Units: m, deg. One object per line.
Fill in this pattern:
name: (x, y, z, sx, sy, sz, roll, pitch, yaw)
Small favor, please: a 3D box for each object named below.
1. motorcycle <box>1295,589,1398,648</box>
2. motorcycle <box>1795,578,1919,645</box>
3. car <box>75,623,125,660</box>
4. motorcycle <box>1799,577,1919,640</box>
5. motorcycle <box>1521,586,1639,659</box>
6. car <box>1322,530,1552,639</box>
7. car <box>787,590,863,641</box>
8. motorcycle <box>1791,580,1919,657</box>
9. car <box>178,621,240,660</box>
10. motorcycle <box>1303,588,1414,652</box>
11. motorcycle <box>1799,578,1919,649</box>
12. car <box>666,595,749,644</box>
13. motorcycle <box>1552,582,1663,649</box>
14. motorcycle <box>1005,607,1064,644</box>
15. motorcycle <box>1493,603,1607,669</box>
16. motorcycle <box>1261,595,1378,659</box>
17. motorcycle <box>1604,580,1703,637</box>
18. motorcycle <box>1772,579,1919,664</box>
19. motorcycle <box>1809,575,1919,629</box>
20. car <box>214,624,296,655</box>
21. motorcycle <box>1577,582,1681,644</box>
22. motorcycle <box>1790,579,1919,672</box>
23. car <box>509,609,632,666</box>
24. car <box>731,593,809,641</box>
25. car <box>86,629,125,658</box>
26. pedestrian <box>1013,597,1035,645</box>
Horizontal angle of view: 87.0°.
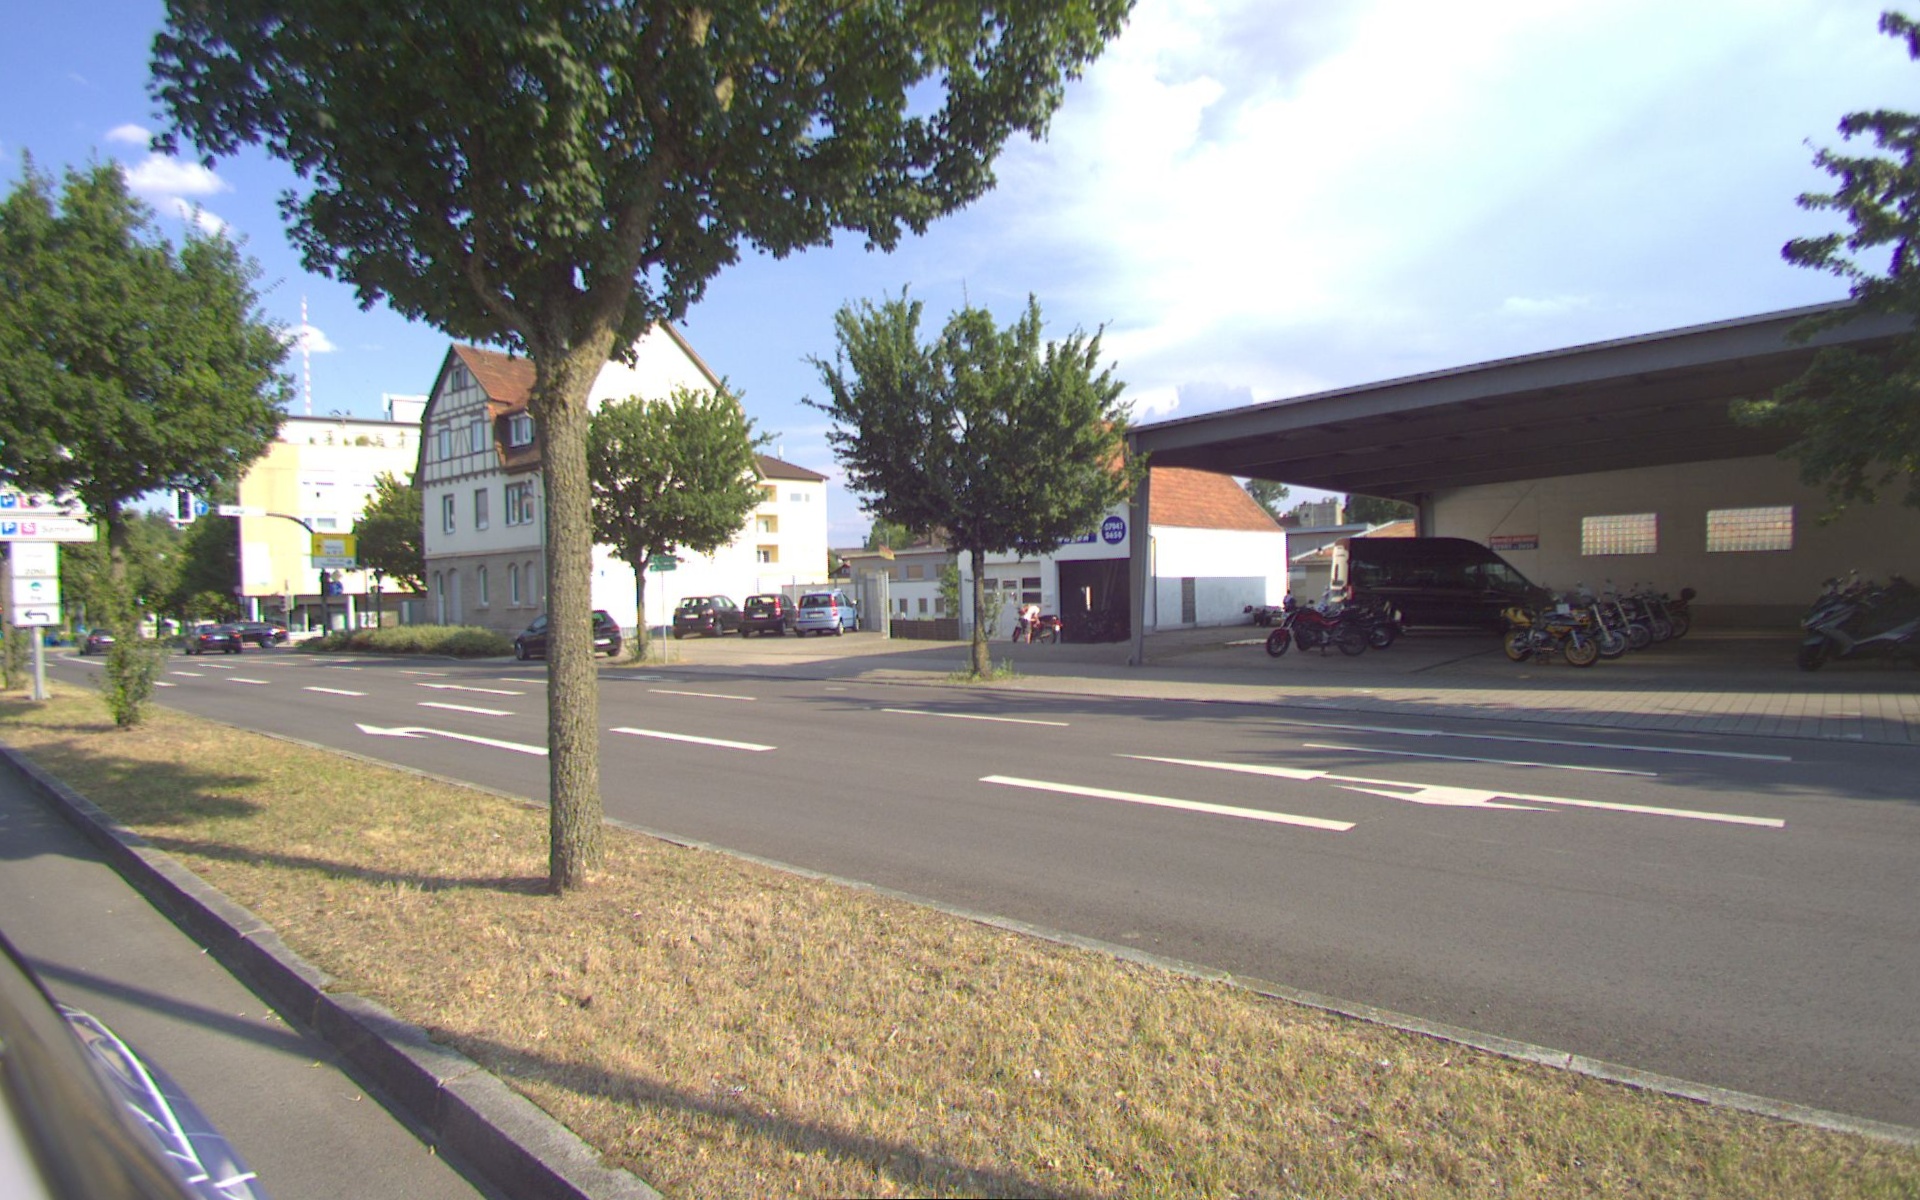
motorcycle: (9.376, 0.446, 24.607, 2.198, 1.372, 0.630, -1, 0, 5)
motorcycle: (19.032, 0.250, 21.289, 2.103, 1.306, 0.628, -3, -1, 17)
car: (-43.488, 2.055, 51.128, 1.756, 1.706, 4.004, -1, 0, -43)
motorcycle: (20.226, 0.201, 22.644, 2.103, 1.306, 0.628, -3, -1, 17)
motorcycle: (12.156, 0.432, 19.955, 0.621, 1.347, 2.269, -1, 0, -9)
car: (12.863, -0.384, 27.628, 5.221, 2.773, 1.996, -1, 0, 7)
car: (-4.686, 0.513, 35.675, 1.797, 1.512, 3.819, -3, 2, 5)
motorcycle: (16.529, 0.334, 18.348, 2.103, 1.306, 0.628, -3, -1, 17)
car: (-35.568, 1.887, 47.884, 4.002, 1.706, 1.757, -1, 0, 44)
motorcycle: (8.954, 0.444, 22.803, 2.198, 1.372, 0.630, -1, 0, 5)
motorcycle: (18.043, 0.263, 19.988, 2.103, 1.306, 0.628, -3, -1, 17)
car: (-9.326, 0.683, 37.697, 1.797, 1.512, 3.819, -3, 2, 5)
motorcycle: (13.862, 0.318, 21.769, 0.621, 1.347, 2.269, -1, 0, -9)
motorcycle: (2.431, 0.832, 33.209, 1.974, 1.194, 0.577, -1, 0, 41)
motorcycle: (10.529, 0.613, 18.151, 0.621, 1.095, 2.038, -1, 0, -8)
motorcycle: (7.494, 0.555, 21.159, 2.202, 1.290, 0.629, -1, 0, 11)
motorcycle: (17.288, 0.214, 25.303, 0.621, 1.347, 2.269, -1, 0, -9)
motorcycle: (14.911, 0.356, 16.776, 2.103, 1.306, 0.628, -3, -1, 17)
motorcycle: (23.731, 0.067, 26.522, 2.103, 1.306, 0.628, -3, -1, 17)
car: (-41.933, 2.338, 60.204, 3.935, 1.687, 1.791, -1, 0, -38)
motorcycle: (15.535, 0.296, 23.579, 0.621, 1.347, 2.269, -1, 0, -9)
motorcycle: (13.859, 0.370, 15.115, 2.103, 1.306, 0.628, -3, -1, 17)
car: (-11.603, 1.074, 30.074, 3.823, 1.462, 1.795, -1, 2, 42)
car: (-6.925, 0.579, 37.305, 1.797, 1.512, 3.819, -3, 2, 5)
car: (-55.675, 2.808, 65.956, 1.754, 1.706, 4.008, -1, 0, -38)
pedestrian: (2.069, 0.669, 32.763, 0.485, 1.530, 0.496, -1, 0, 41)
